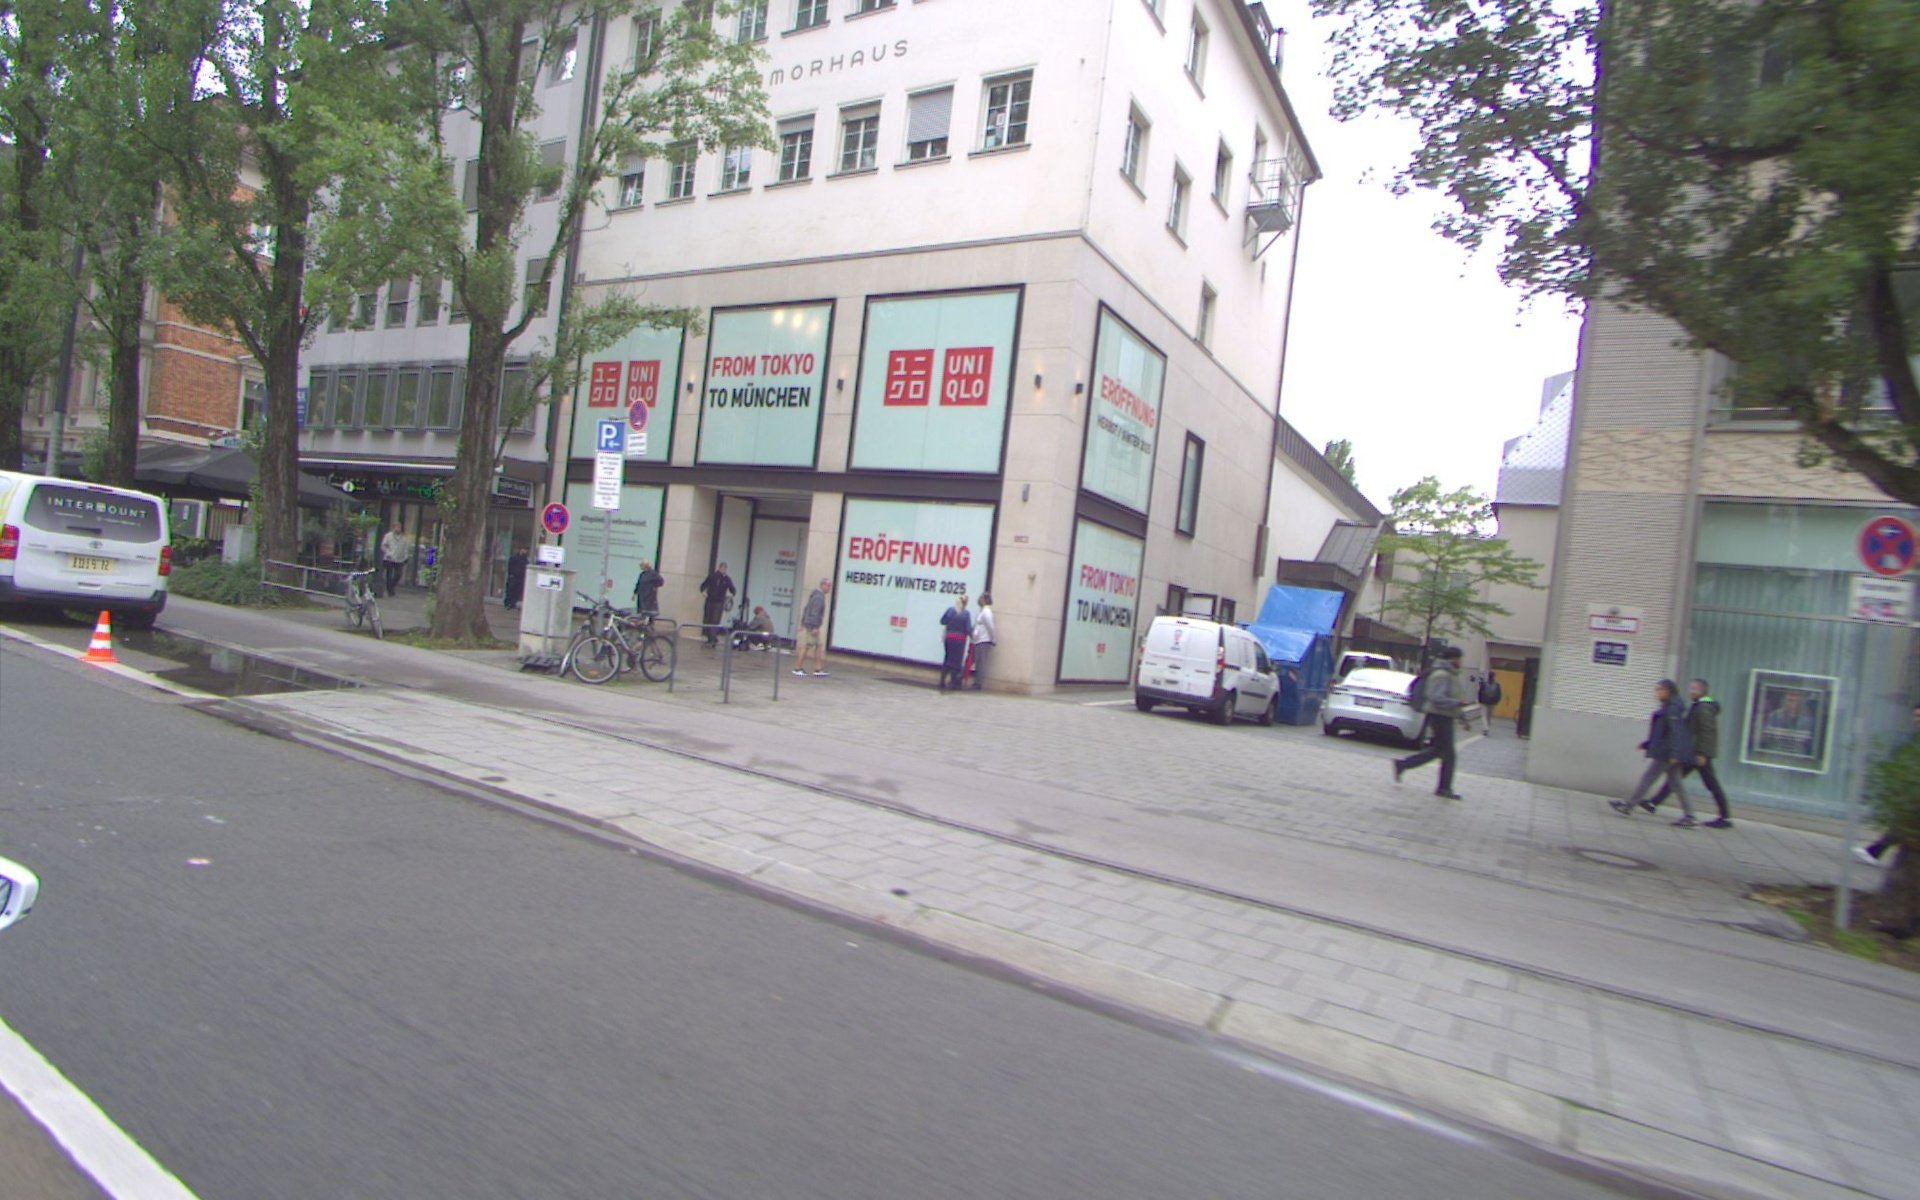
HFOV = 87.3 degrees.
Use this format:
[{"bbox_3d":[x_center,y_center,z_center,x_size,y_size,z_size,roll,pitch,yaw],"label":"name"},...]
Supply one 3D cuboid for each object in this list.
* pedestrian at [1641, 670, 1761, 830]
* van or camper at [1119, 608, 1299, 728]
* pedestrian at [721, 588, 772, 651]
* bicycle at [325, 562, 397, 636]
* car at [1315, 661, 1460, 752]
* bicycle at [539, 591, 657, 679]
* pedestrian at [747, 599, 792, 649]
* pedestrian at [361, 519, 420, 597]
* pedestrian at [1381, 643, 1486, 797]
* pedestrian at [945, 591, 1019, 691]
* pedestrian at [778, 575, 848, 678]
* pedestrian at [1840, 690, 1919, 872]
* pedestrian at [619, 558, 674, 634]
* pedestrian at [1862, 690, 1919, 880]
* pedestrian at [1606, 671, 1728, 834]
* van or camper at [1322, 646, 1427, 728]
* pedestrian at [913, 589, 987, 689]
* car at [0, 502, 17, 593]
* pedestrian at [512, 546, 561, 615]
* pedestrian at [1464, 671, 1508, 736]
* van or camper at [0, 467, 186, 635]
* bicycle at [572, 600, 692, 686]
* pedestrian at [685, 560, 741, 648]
[{"bbox_3d":[8.975,1.794,12.232,0.947,1.739,0.751,7,0,32],"label":"pedestrian"},{"bbox_3d":[4.892,1.376,19.346,1.868,1.888,4.109,6,-2,35],"label":"van or camper"},{"bbox_3d":[-4.572,0.418,21.563,0.673,1.249,0.670,7,1,33],"label":"pedestrian"},{"bbox_3d":[-9.880,-0.031,16.573,1.705,1.050,0.364,7,0,39],"label":"bicycle"},{"bbox_3d":[8.820,2.127,20.529,1.869,1.404,4.304,7,-1,33],"label":"car"},{"bbox_3d":[-5.048,0.473,14.129,0.440,1.125,1.741,7,2,21],"label":"bicycle"},{"bbox_3d":[-4.197,0.527,22.121,0.661,0.981,0.571,7,0,32],"label":"pedestrian"},{"bbox_3d":[-14.656,-1.085,25.903,1.083,1.864,0.825,7,1,39],"label":"pedestrian"},{"bbox_3d":[5.717,1.428,12.143,0.914,1.687,0.560,7,1,32],"label":"pedestrian"},{"bbox_3d":[0.410,0.768,18.735,0.947,1.739,0.751,7,0,31],"label":"pedestrian"},{"bbox_3d":[-2.617,0.458,17.857,0.972,1.694,0.823,7,0,-14],"label":"pedestrian"},{"bbox_3d":[9.863,1.869,10.459,0.845,1.779,0.751,5,-1,32],"label":"pedestrian"},{"bbox_3d":[-7.162,-0.086,22.982,0.814,1.629,0.671,7,1,30],"label":"pedestrian"},{"bbox_3d":[9.491,1.807,9.781,0.845,1.779,0.751,5,-1,32],"label":"pedestrian"},{"bbox_3d":[8.234,1.741,11.767,0.947,1.698,0.750,7,1,32],"label":"pedestrian"},{"bbox_3d":[11.192,2.326,27.017,1.724,1.827,4.305,7,-1,32],"label":"van or camper"},{"bbox_3d":[-0.179,0.715,18.238,0.947,1.683,0.653,7,0,32],"label":"pedestrian"},{"bbox_3d":[-17.735,-1.143,16.691,4.279,1.458,1.724,7,-2,29],"label":"car"},{"bbox_3d":[-10.657,-0.487,25.305,0.760,1.628,0.670,6,-1,38],"label":"pedestrian"},{"bbox_3d":[14.163,2.783,27.089,0.741,1.643,0.959,7,1,37],"label":"pedestrian"},{"bbox_3d":[-13.074,-0.794,14.003,4.821,1.905,1.872,7,-1,31],"label":"van or camper"},{"bbox_3d":[-4.457,0.571,13.813,0.475,1.058,1.762,7,1,21],"label":"bicycle"},{"bbox_3d":[-5.354,0.094,21.837,0.851,1.786,0.684,7,0,0],"label":"pedestrian"}]
